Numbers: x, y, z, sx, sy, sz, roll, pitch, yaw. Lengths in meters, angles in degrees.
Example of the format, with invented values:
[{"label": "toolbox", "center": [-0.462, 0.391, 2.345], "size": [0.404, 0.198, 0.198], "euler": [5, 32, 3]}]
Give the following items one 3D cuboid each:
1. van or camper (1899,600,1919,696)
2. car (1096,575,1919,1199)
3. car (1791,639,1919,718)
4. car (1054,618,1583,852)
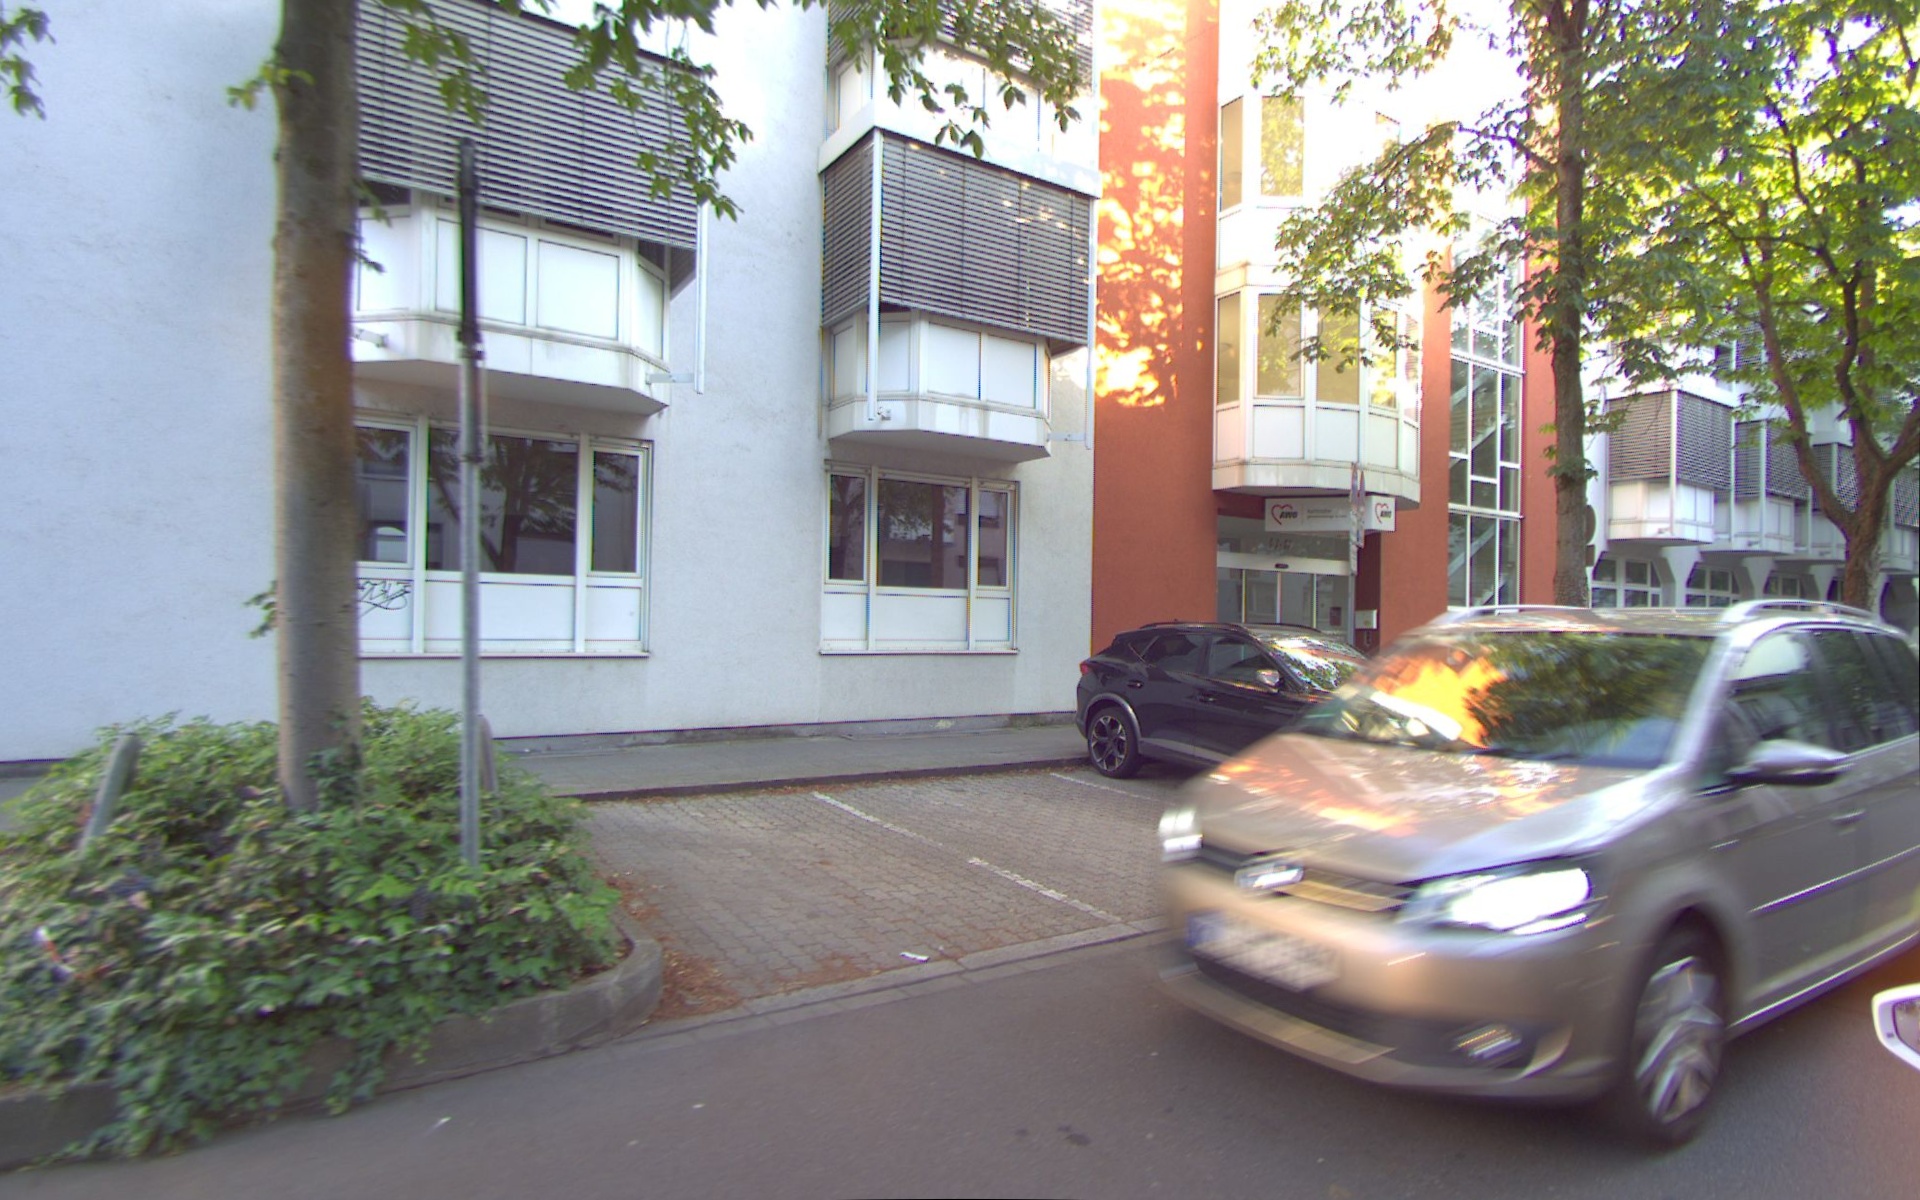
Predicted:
[{"label": "van or camper", "center": [26.928, 1.267, 25.176], "size": [1.979, 2.511, 4.637], "euler": [2, -1, -33]}, {"label": "car", "center": [2.745, 0.793, 4.335], "size": [4.123, 1.583, 1.769], "euler": [2, -1, -33]}, {"label": "car", "center": [19.945, 1.627, 20.745], "size": [1.765, 1.537, 3.947], "euler": [2, -1, -32]}, {"label": "car", "center": [2.873, 0.961, 9.029], "size": [1.766, 1.537, 4.330], "euler": [2, -1, -32]}]
